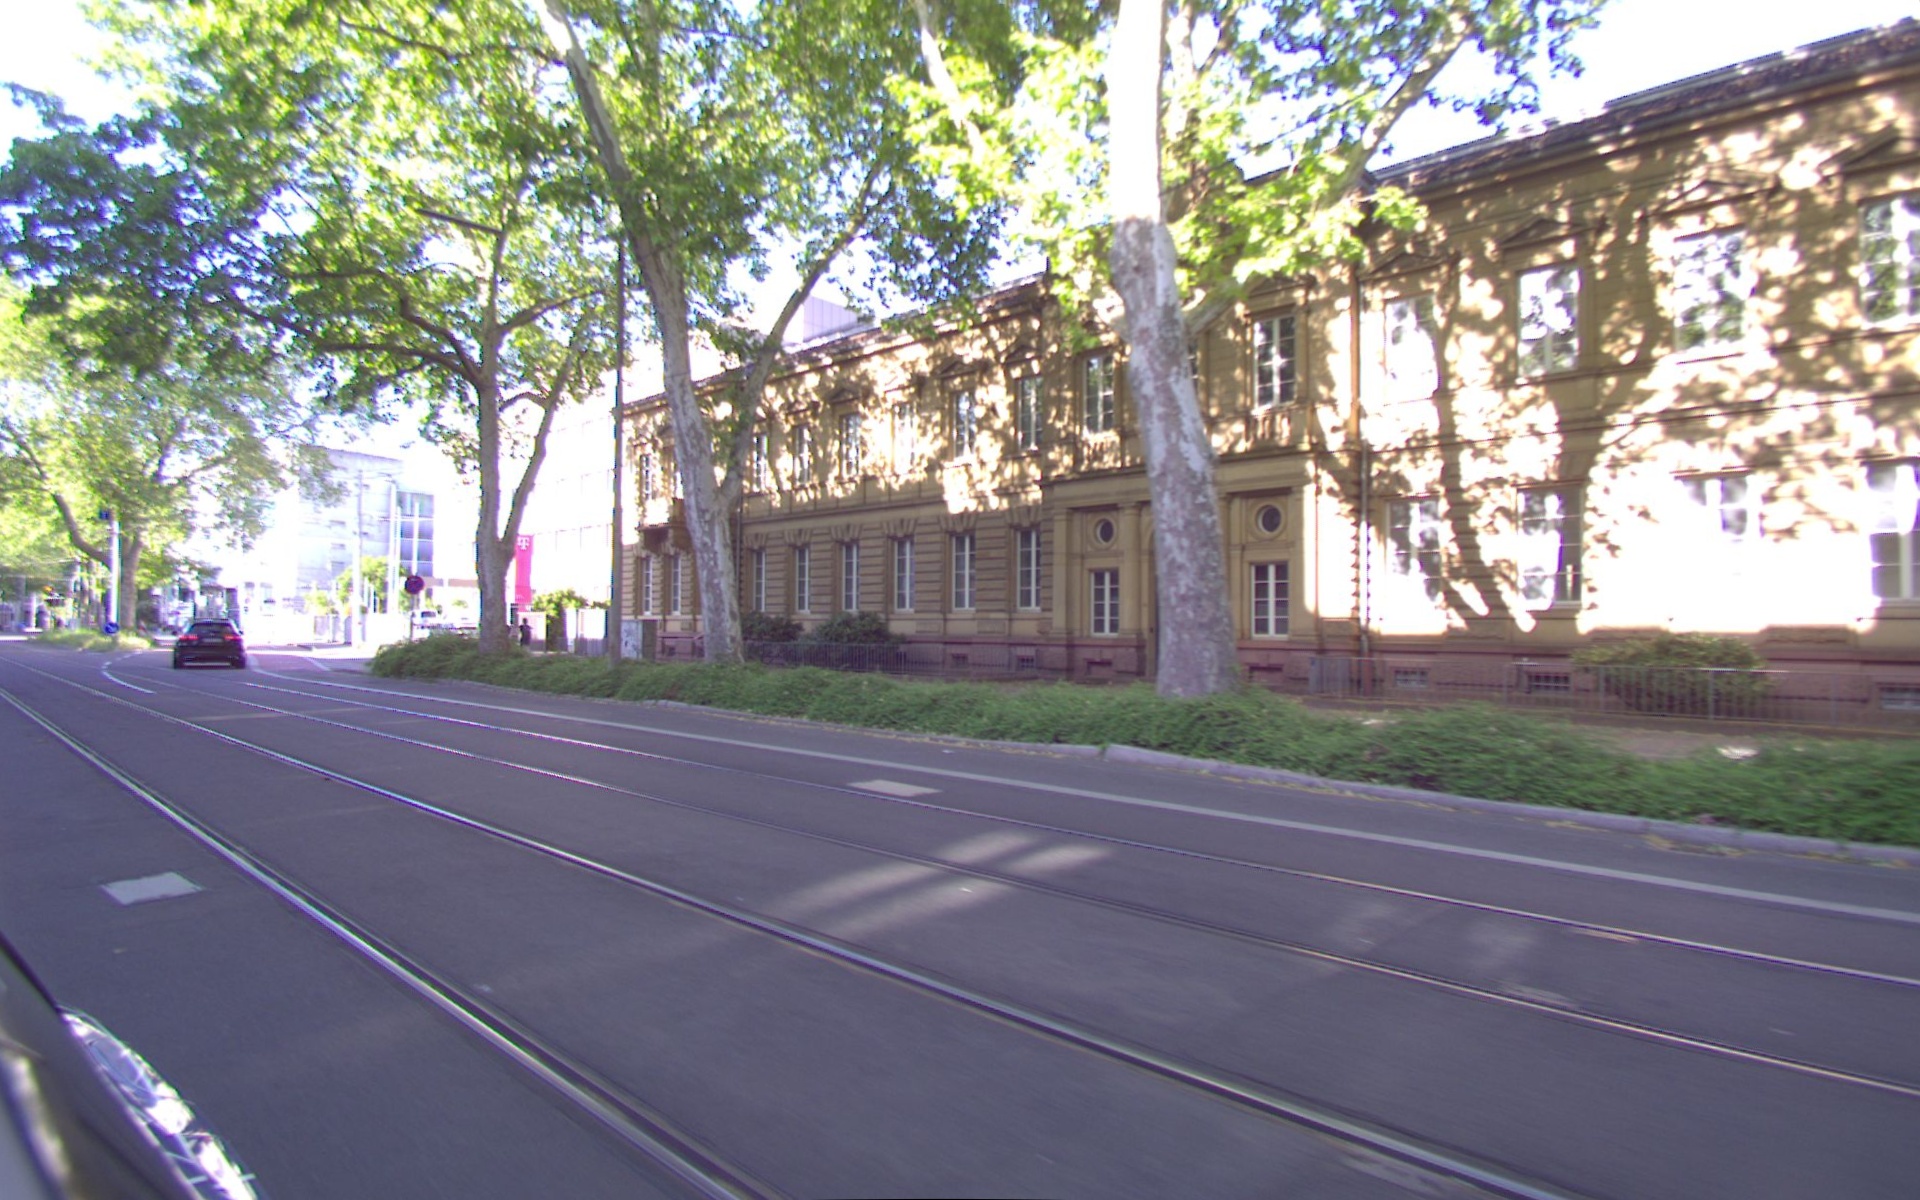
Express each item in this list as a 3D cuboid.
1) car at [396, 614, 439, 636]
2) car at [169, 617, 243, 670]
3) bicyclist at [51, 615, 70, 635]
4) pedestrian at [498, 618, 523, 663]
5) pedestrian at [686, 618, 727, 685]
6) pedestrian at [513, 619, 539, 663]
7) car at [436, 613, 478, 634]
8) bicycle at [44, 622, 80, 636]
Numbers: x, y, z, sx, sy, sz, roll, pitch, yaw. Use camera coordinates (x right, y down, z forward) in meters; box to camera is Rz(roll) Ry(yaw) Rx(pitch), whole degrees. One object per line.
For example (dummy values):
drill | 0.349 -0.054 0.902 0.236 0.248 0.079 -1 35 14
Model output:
car | -44.629 2.051 83.262 3.999 1.831 1.828 -1 -2 42
car | -25.276 1.462 33.870 1.842 1.642 4.569 3 -3 -38
bicyclist | -73.067 2.029 82.213 0.759 1.588 0.995 -1 -2 39
pedestrian | -17.468 1.572 39.297 0.655 1.710 0.628 -1 -2 38
pedestrian | -7.110 1.430 28.395 0.835 1.863 0.713 -1 -2 35
pedestrian | -17.090 1.609 39.877 0.660 1.710 0.665 -1 -2 35
car | -42.230 1.962 84.907 3.999 1.765 1.828 -1 -2 42
bicycle | -73.011 2.334 82.274 0.759 1.137 2.057 -1 -2 39
